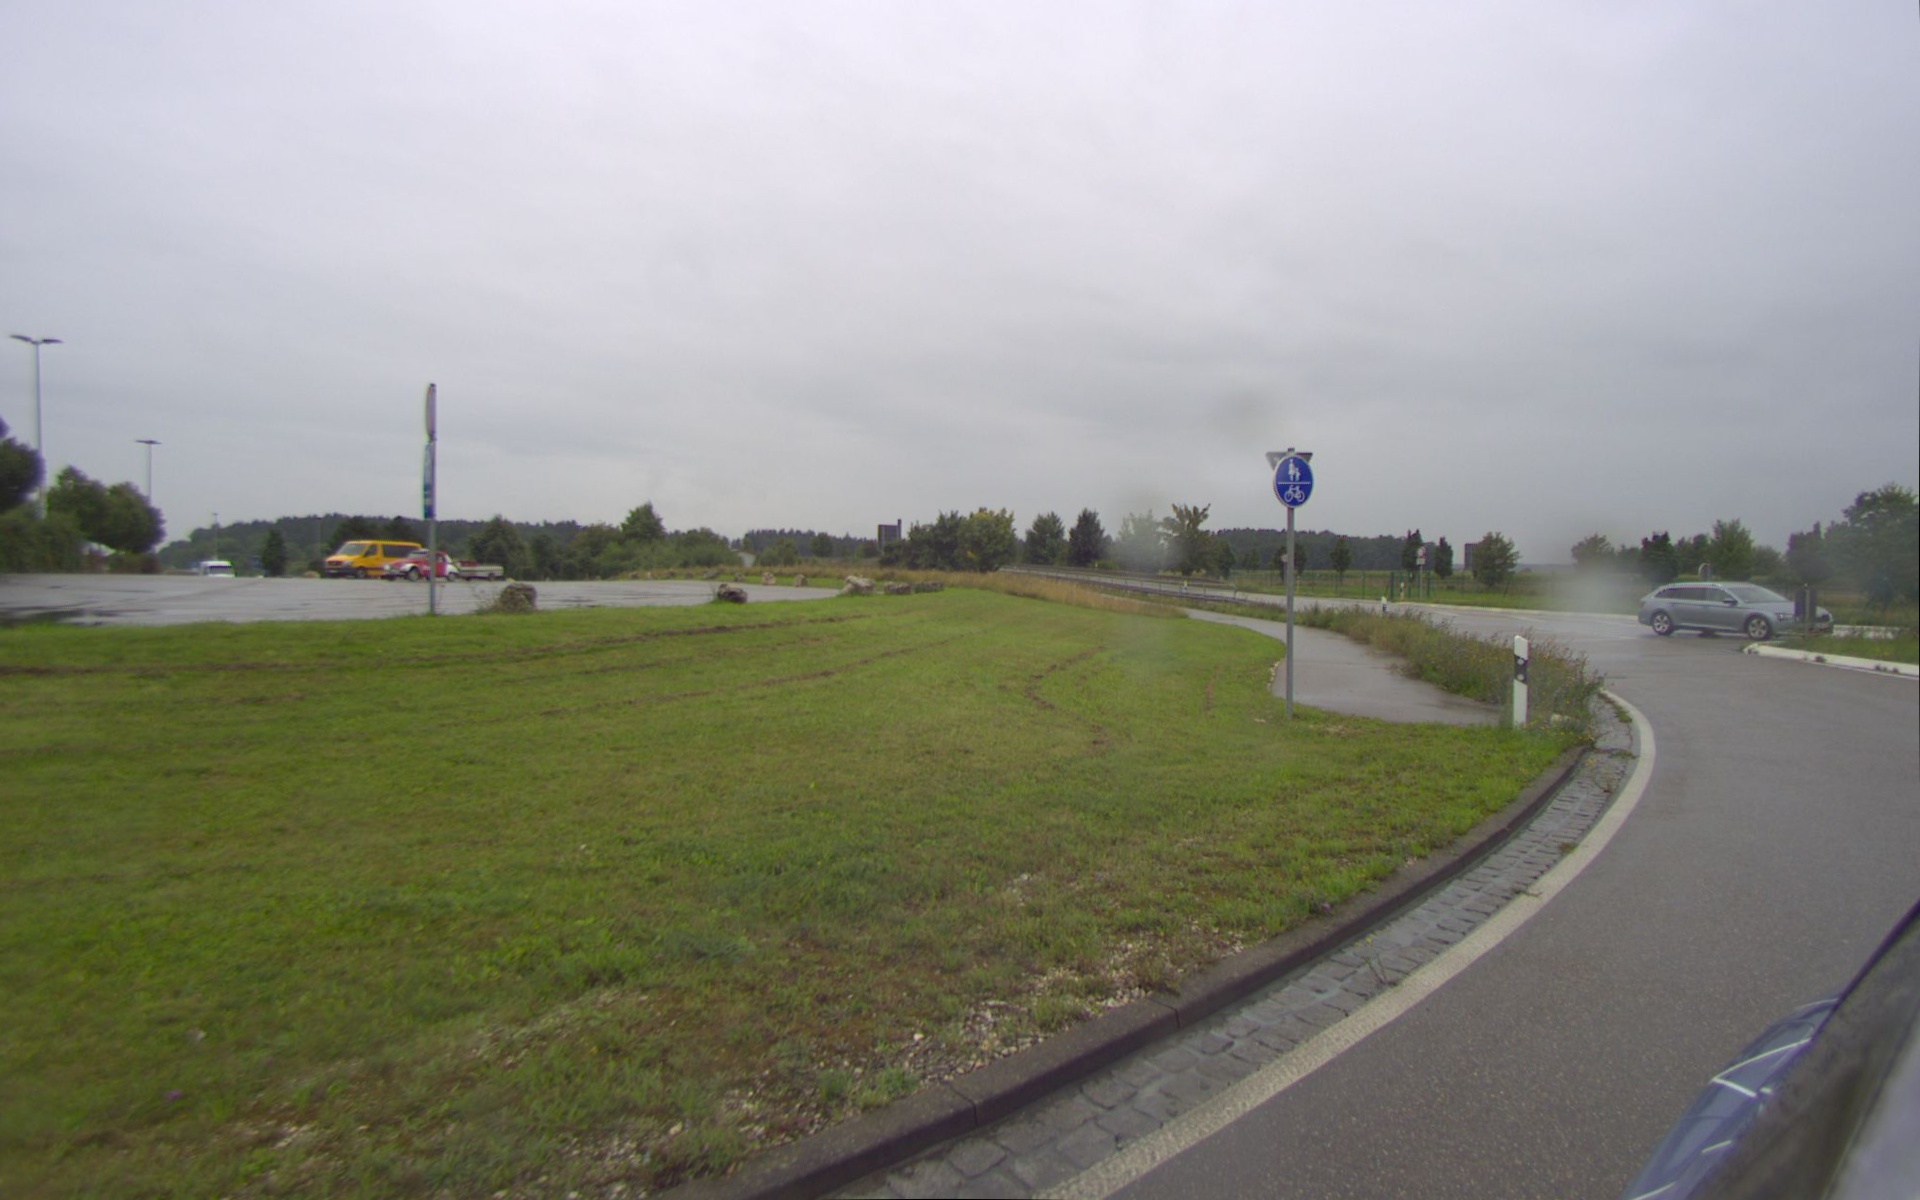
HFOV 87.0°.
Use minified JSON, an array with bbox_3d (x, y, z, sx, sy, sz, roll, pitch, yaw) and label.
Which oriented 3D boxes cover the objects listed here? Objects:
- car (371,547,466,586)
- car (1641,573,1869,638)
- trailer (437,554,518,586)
[{"bbox_3d":[-26.100,-1.579,48.918,1.802,1.799,3.982,0,1,15],"label":"car"},{"bbox_3d":[21.226,0.072,27.316,1.958,1.500,4.672,-1,2,-12],"label":"car"},{"bbox_3d":[-25.104,-1.557,52.787,1.676,1.551,3.983,0,2,15],"label":"trailer"}]
